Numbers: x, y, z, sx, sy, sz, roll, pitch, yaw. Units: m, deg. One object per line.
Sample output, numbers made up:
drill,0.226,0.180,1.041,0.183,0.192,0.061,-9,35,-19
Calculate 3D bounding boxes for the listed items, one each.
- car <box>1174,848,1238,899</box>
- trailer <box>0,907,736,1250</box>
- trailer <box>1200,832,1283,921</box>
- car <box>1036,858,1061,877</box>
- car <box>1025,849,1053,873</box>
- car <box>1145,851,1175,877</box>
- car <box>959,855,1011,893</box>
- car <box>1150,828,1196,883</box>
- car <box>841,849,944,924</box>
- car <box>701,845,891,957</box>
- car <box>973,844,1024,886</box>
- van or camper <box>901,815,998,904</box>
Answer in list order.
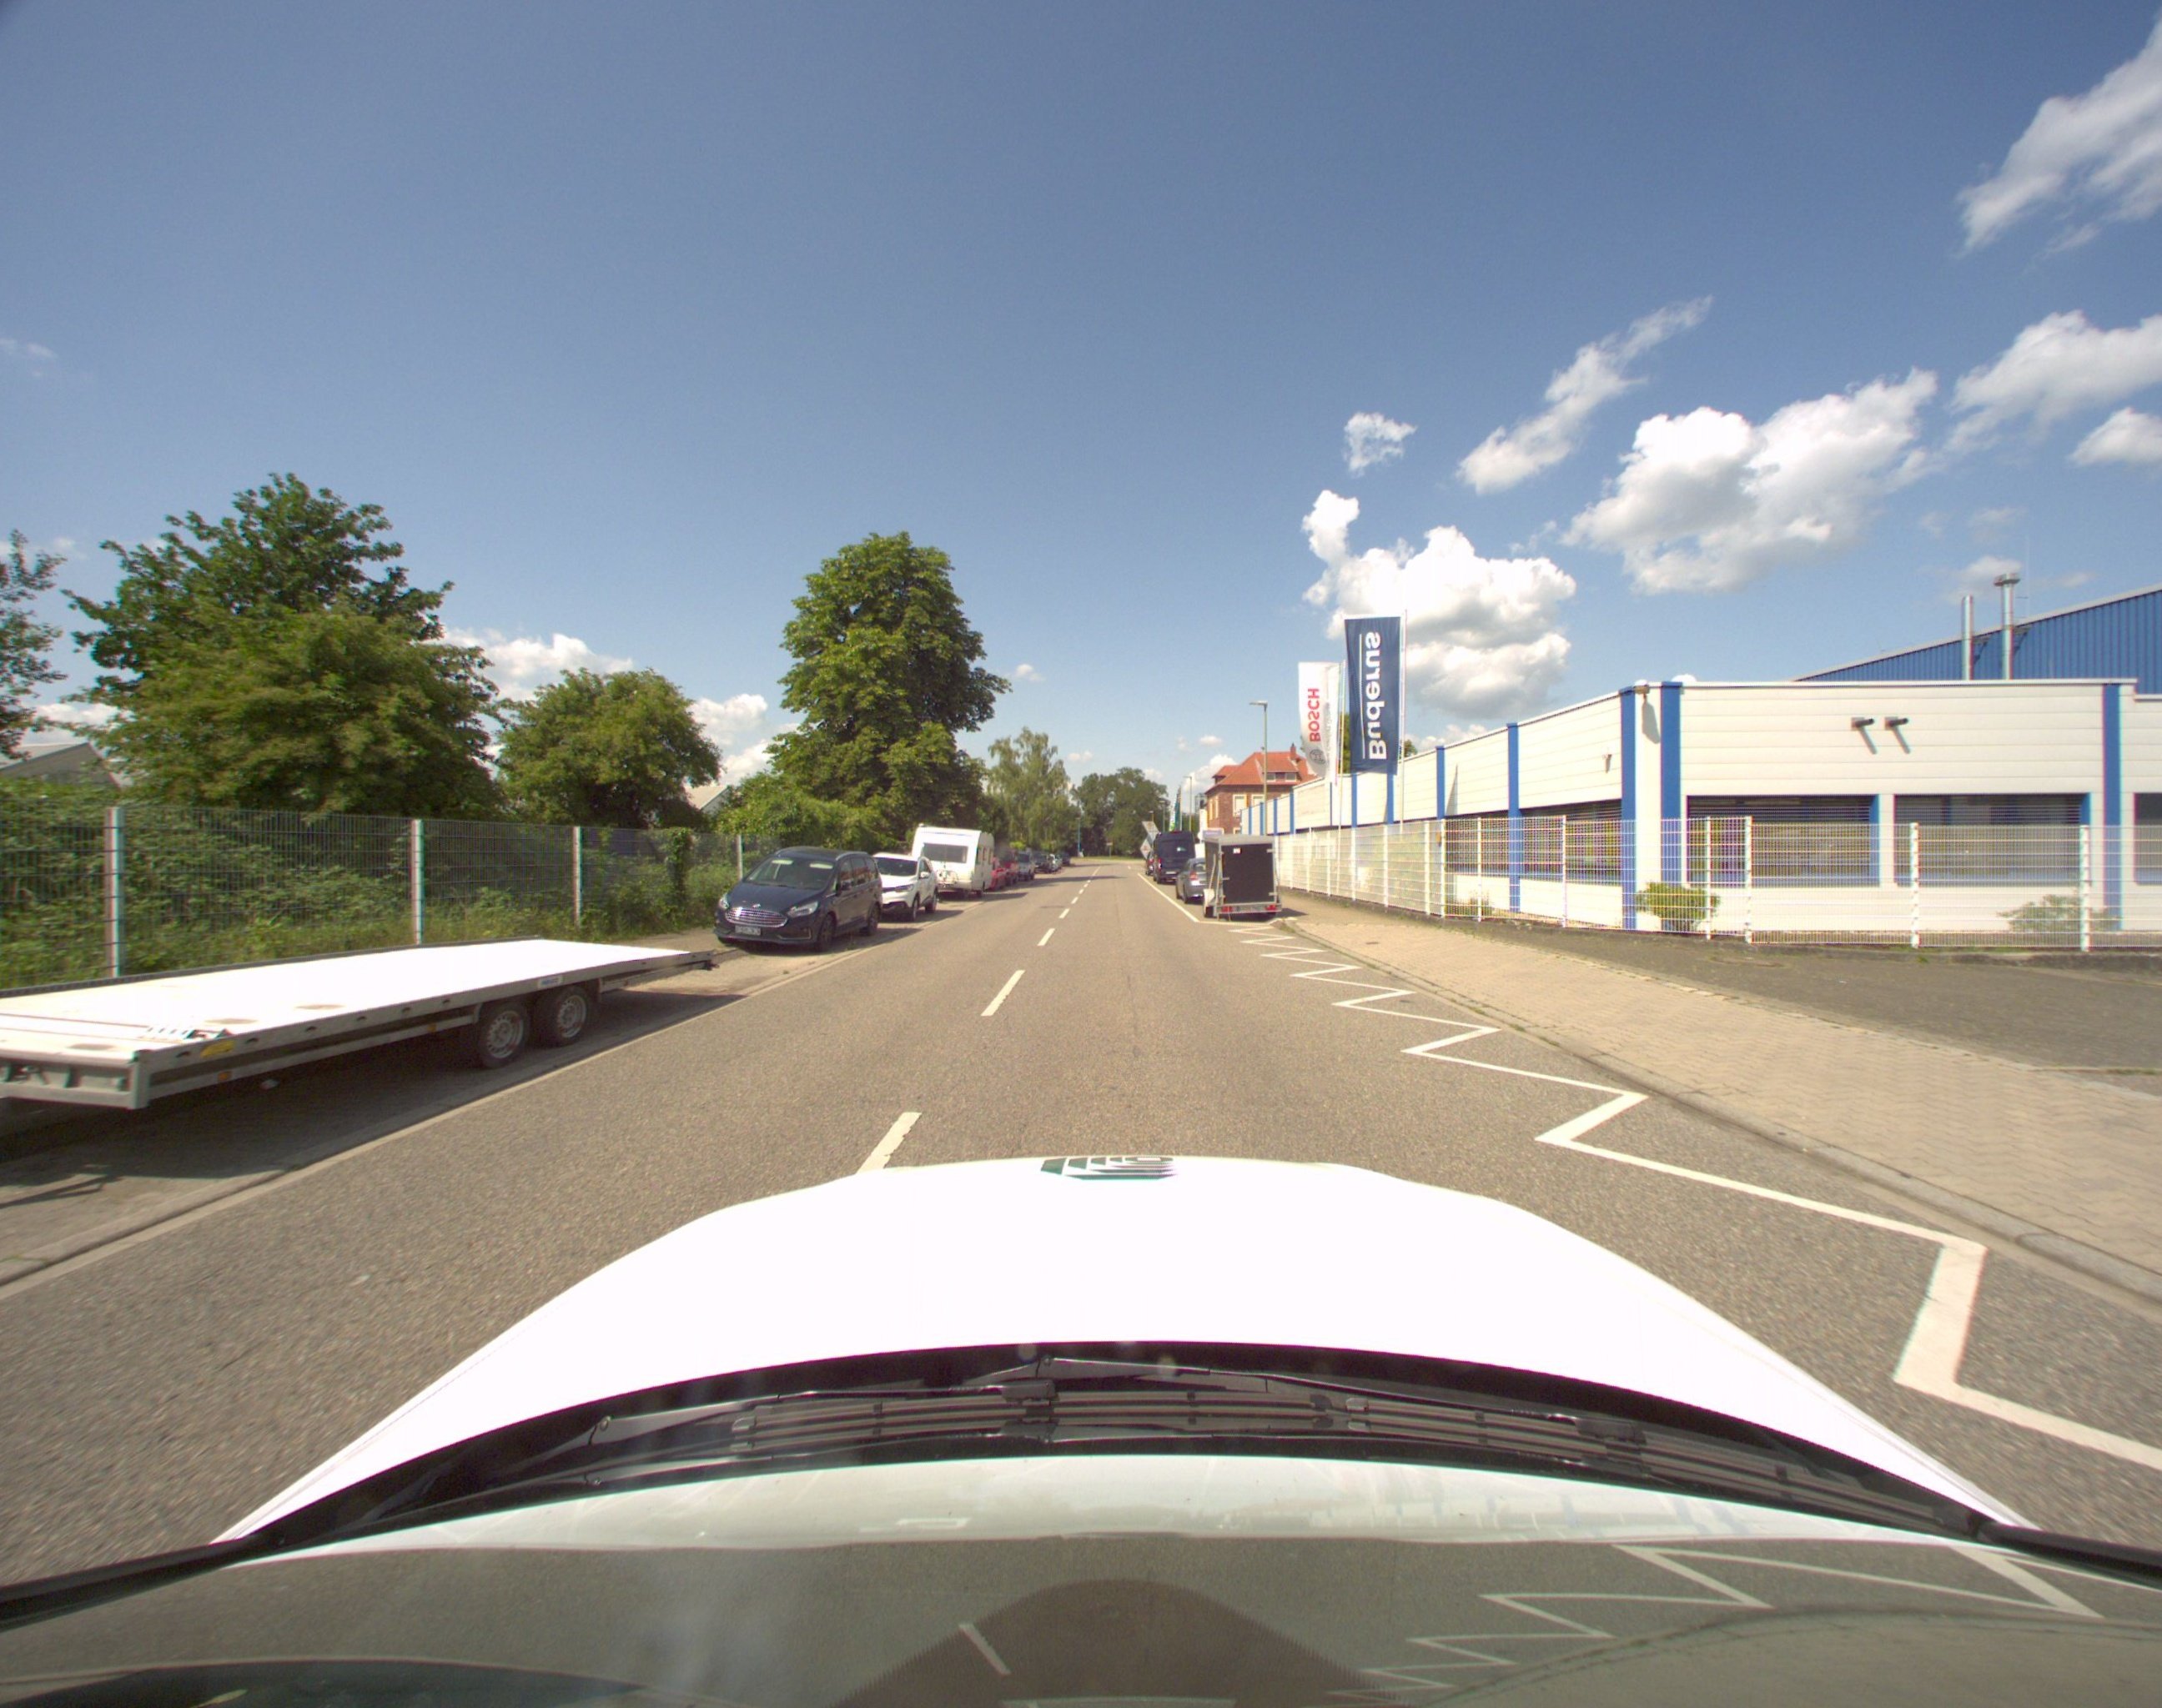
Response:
car,3.964,0.578,26.314,1.566,1.507,4.134,0,0,2
trailer,-5.459,1.148,6.135,2.261,0.883,7.138,4,0,3
trailer,3.885,0.511,20.075,1.595,2.037,2.742,0,0,2
car,-2.813,1.140,70.922,1.693,1.595,4.791,0,0,3
car,-3.294,0.531,64.172,1.604,1.745,4.641,2,0,4
car,5.376,0.636,55.921,1.818,1.664,4.559,-1,0,3
car,-4.355,0.855,37.495,1.618,1.532,4.271,4,0,2
car,4.848,0.075,43.562,1.930,2.748,6.157,-1,0,2
car,-4.882,0.783,21.704,1.679,1.692,4.443,4,0,-1
car,-5.150,0.755,15.522,1.820,1.793,4.737,-1,0,2
car,-4.349,0.582,43.701,1.891,1.954,4.960,5,0,2
van or camper,-4.698,0.178,30.378,2.255,2.803,6.834,3,0,1
